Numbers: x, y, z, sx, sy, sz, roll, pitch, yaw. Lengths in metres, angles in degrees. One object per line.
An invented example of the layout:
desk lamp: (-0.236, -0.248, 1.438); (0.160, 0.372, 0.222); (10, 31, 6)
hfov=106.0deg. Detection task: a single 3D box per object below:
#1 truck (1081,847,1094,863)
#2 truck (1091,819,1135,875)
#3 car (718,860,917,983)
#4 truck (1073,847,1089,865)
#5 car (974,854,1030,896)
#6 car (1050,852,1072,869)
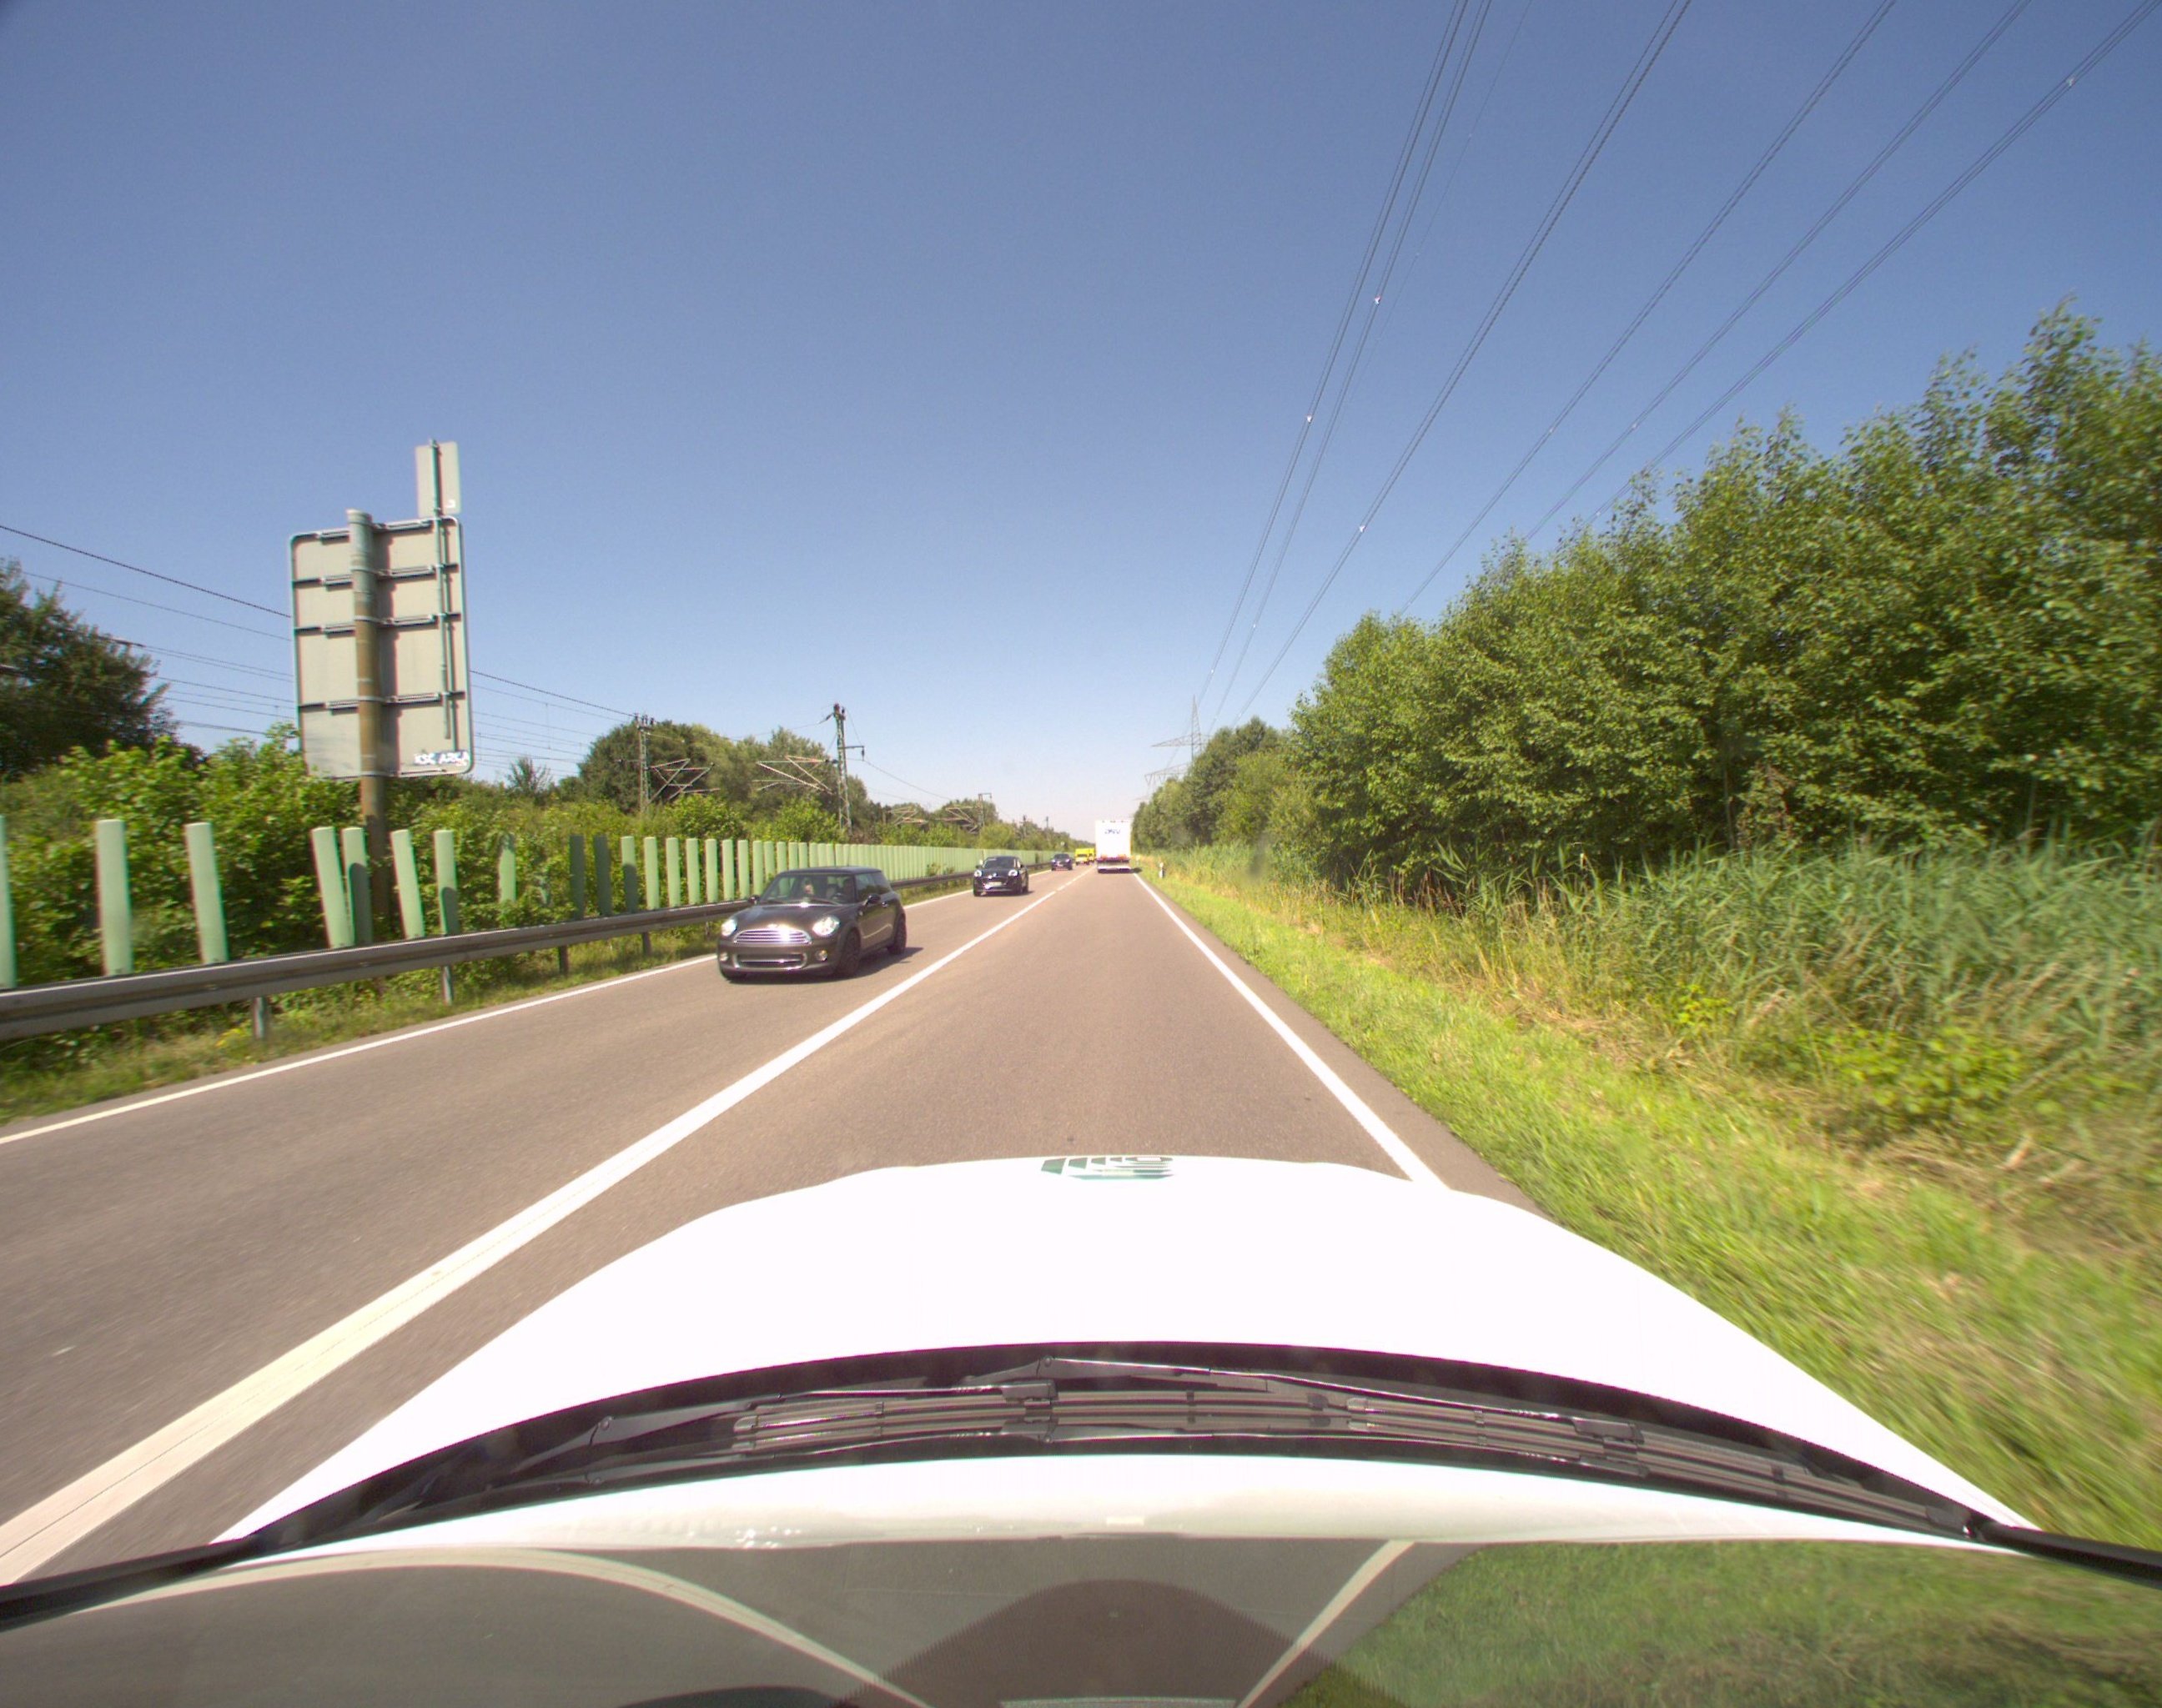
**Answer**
truck: (1.106, 0.104, 139.772); (2.072, 2.646, 5.707); (-1, 0, 2)
truck: (2.608, -0.529, 66.658); (3.180, 4.042, 12.012); (-2, 0, 2)
car: (-3.596, 0.840, 11.811); (1.500, 1.435, 3.745); (-1, 0, 2)
truck: (0.042, 0.247, 113.502); (1.985, 2.348, 6.016); (-1, 0, 3)
car: (-3.051, 0.764, 32.236); (1.666, 1.515, 4.291); (-1, 0, 2)
car: (-1.947, 0.644, 78.910); (1.794, 1.587, 4.373); (-1, 0, 2)
